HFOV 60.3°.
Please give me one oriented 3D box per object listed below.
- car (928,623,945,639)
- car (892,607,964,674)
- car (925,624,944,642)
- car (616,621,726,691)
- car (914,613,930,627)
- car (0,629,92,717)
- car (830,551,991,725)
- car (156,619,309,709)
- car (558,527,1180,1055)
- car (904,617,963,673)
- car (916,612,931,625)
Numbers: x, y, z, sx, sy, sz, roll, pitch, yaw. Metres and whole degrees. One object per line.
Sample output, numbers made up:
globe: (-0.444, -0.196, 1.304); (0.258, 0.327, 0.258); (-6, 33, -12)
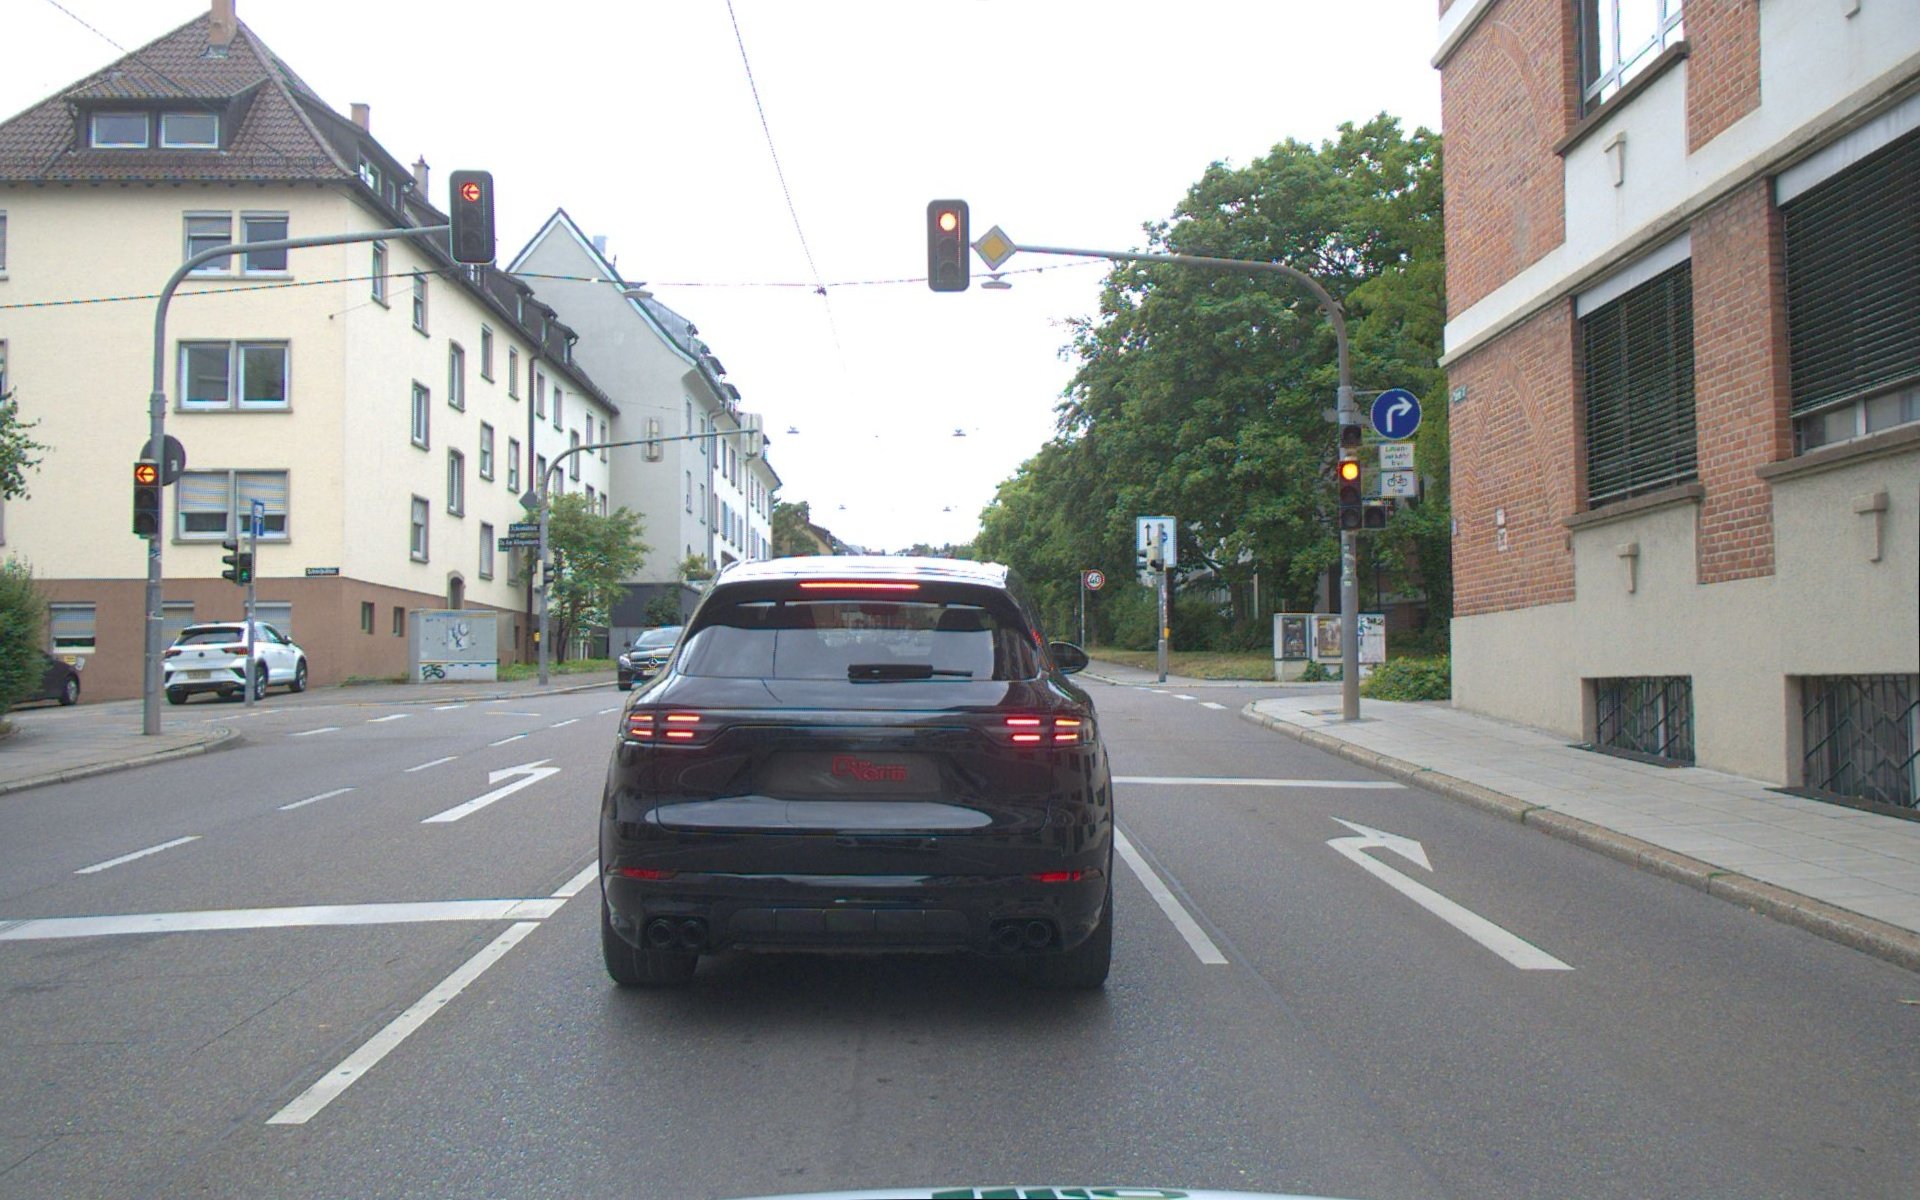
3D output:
car: (-2.557, 3.398, 182.739); (1.790, 1.633, 4.134); (1, 0, -1)
car: (-0.838, 1.049, 44.138); (1.790, 1.633, 4.134); (1, 0, -1)
car: (-2.472, 3.242, 161.458); (1.790, 1.633, 4.134); (1, 0, -1)
car: (-6.704, 1.263, 38.852); (1.749, 1.443, 4.669); (-2, -1, -1)
car: (-4.669, 2.418, 203.183); (1.790, 1.633, 4.134); (1, 0, -1)
car: (-19.631, 1.497, 34.109); (1.658, 1.636, 3.762); (-3, 0, -5)
car: (-0.625, 0.454, 22.226); (1.925, 2.078, 4.134); (1, 0, -1)
car: (-14.757, 1.253, 33.754); (1.658, 1.582, 3.762); (-3, 0, -5)
car: (-0.312, 0.620, 7.554); (2.007, 1.695, 4.266); (1, 0, -1)
car: (-0.841, 1.402, 52.850); (1.790, 1.633, 3.858); (1, 0, -1)
car: (-4.595, 2.367, 210.510); (1.790, 1.633, 4.134); (1, 0, -1)
